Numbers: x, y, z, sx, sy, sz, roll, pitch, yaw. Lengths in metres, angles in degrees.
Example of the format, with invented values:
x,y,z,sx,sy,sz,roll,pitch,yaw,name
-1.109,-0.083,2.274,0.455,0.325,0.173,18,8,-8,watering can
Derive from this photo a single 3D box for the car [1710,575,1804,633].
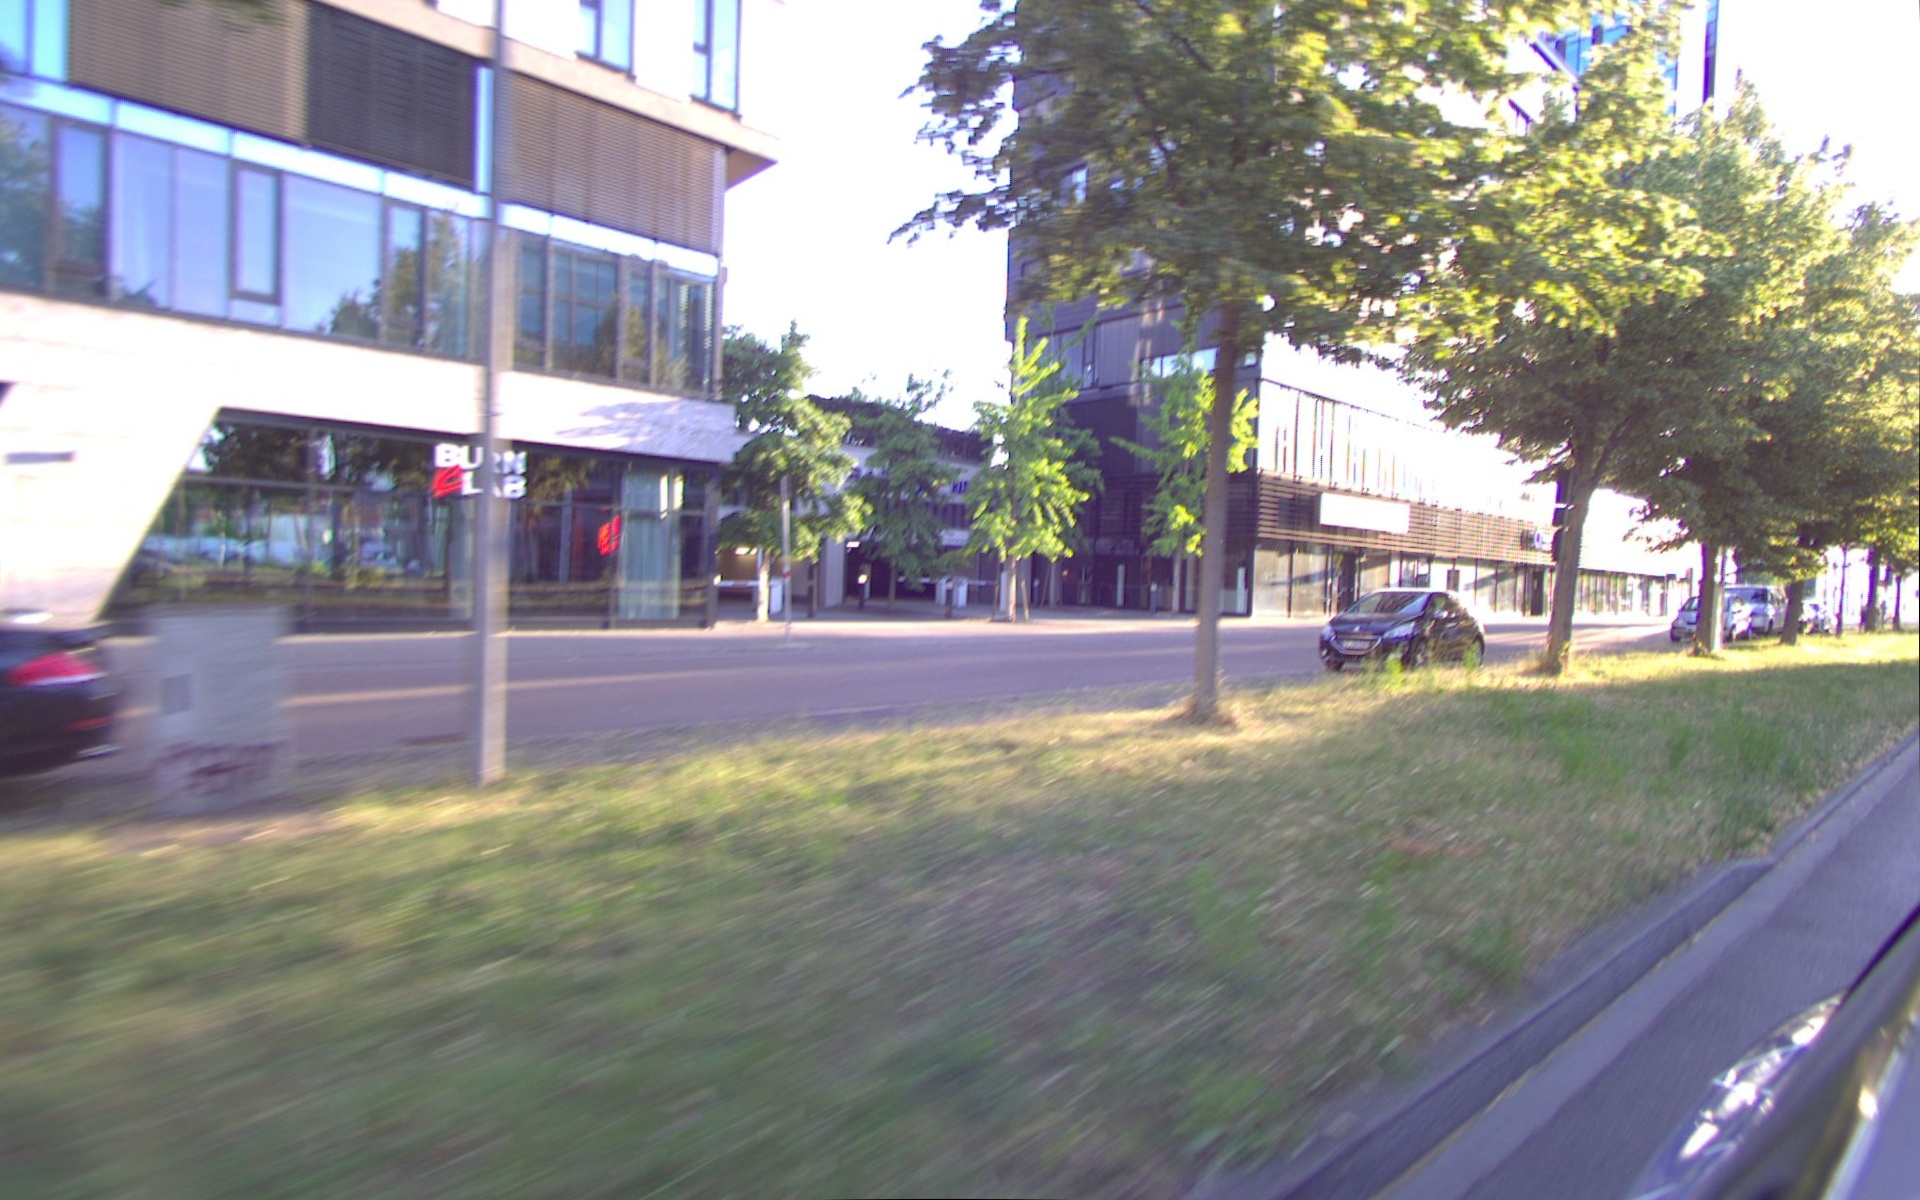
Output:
x,y,z,sx,sy,sz,roll,pitch,yaw,name
29.793,0.138,37.781,4.848,2.014,1.989,0,1,-43,car

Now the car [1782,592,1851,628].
x,y,z,sx,sy,sz,roll,pitch,yaw,name
39.492,0.429,46.613,4.957,1.515,1.919,0,1,-44,car

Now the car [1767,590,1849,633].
x,y,z,sx,sy,sz,roll,pitch,yaw,name
34.812,0.433,41.511,4.216,1.514,1.864,0,5,-41,car

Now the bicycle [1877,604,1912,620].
x,y,z,sx,sy,sz,roll,pitch,yaw,name
57.890,0.723,62.709,0.355,0.921,1.726,2,1,-9,bicycle

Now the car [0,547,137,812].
x,y,z,sx,sy,sz,roll,pitch,yaw,name
-6.959,0.402,4.695,4.753,1.384,1.854,0,0,-44,car

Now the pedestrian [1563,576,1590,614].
x,y,z,sx,sy,sz,roll,pitch,yaw,name
30.516,-0.266,50.075,0.897,1.819,0.898,1,2,-43,pedestrian

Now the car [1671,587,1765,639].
x,y,z,sx,sy,sz,roll,pitch,yaw,name
25.426,0.401,33.914,3.992,1.590,1.841,0,1,-43,car

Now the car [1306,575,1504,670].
x,y,z,sx,sy,sz,roll,pitch,yaw,name
8.018,0.371,18.096,3.931,1.513,1.783,0,-1,-42,car
